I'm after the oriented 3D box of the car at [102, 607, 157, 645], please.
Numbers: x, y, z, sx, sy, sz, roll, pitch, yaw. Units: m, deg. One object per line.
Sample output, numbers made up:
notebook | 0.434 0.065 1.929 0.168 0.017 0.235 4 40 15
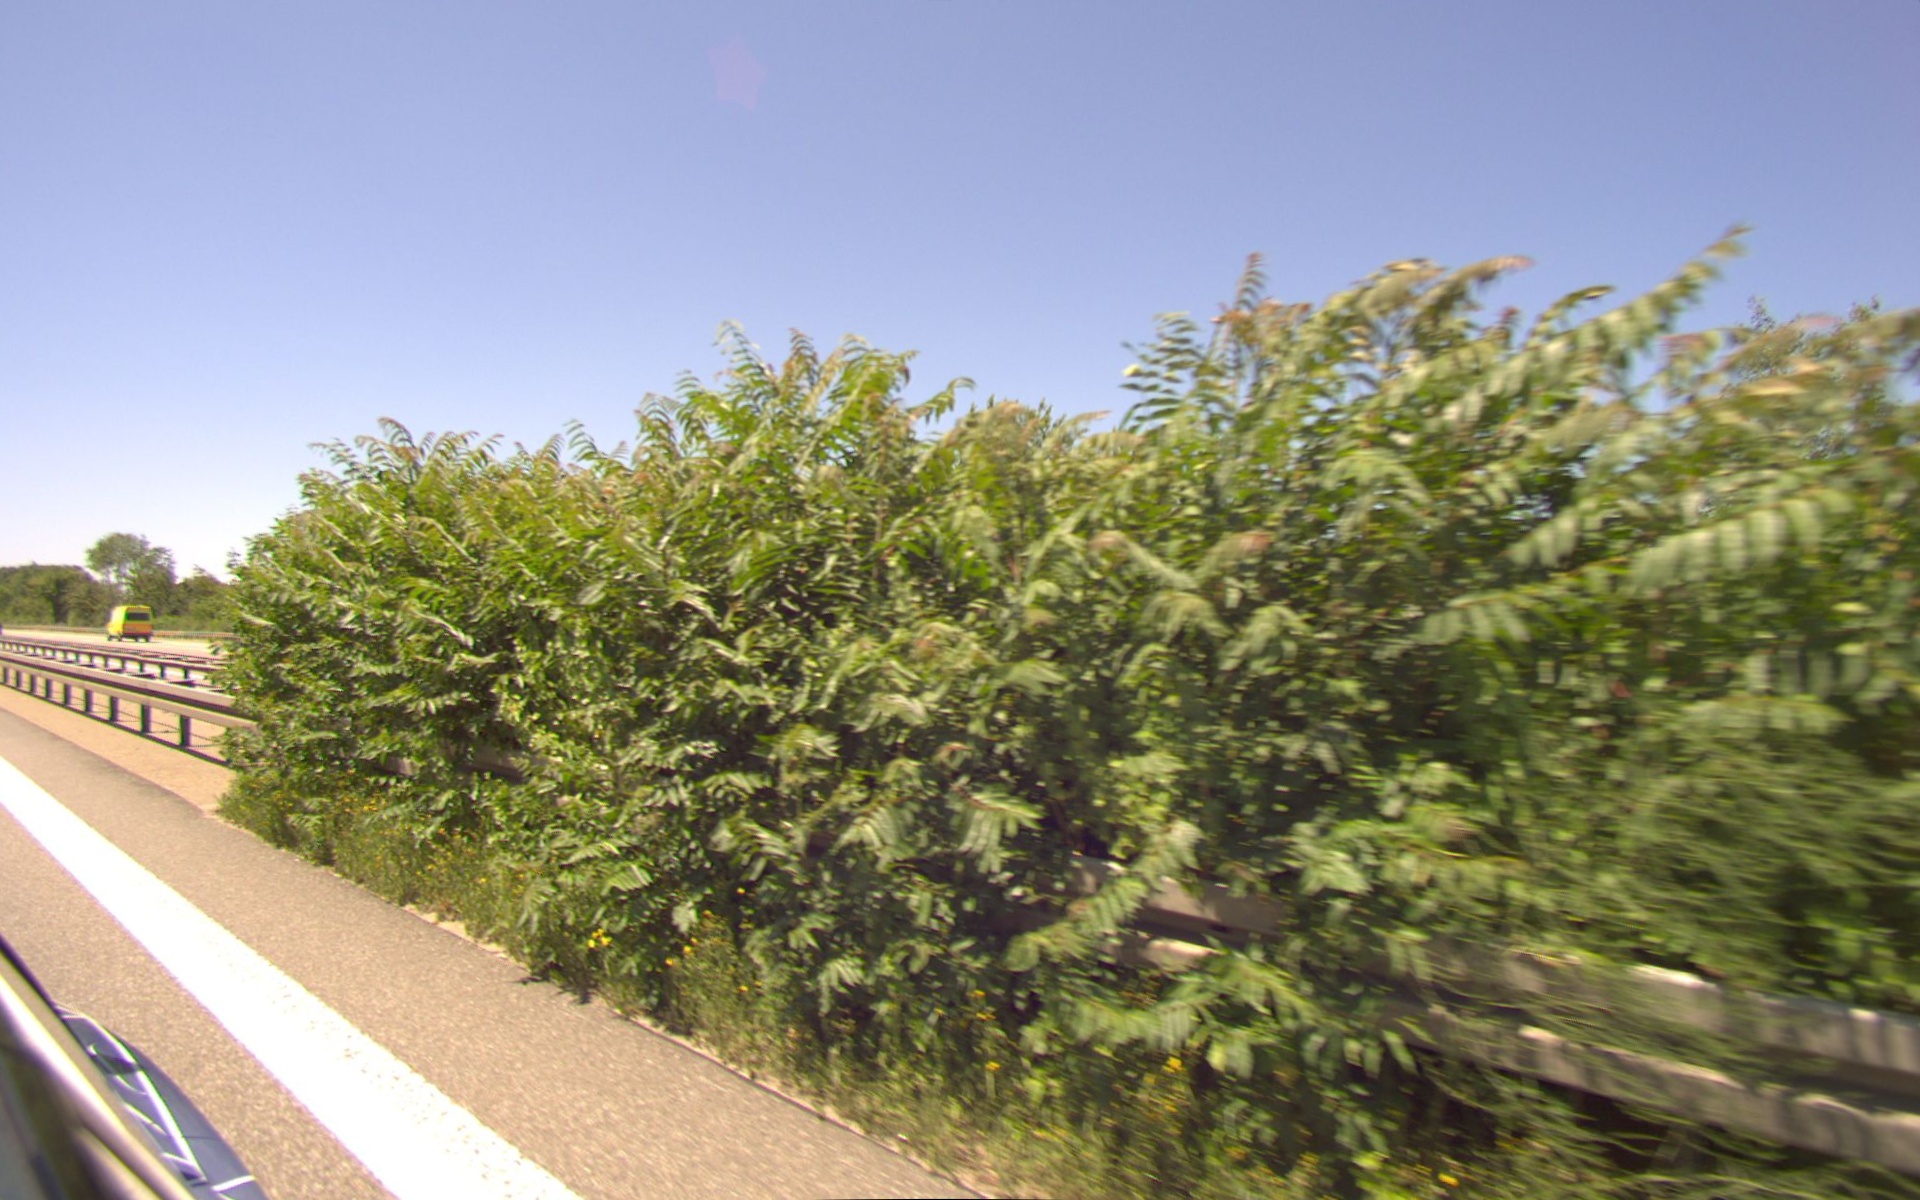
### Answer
car | -62.870 1.971 76.549 5.796 2.800 2.143 -1 -4 41
